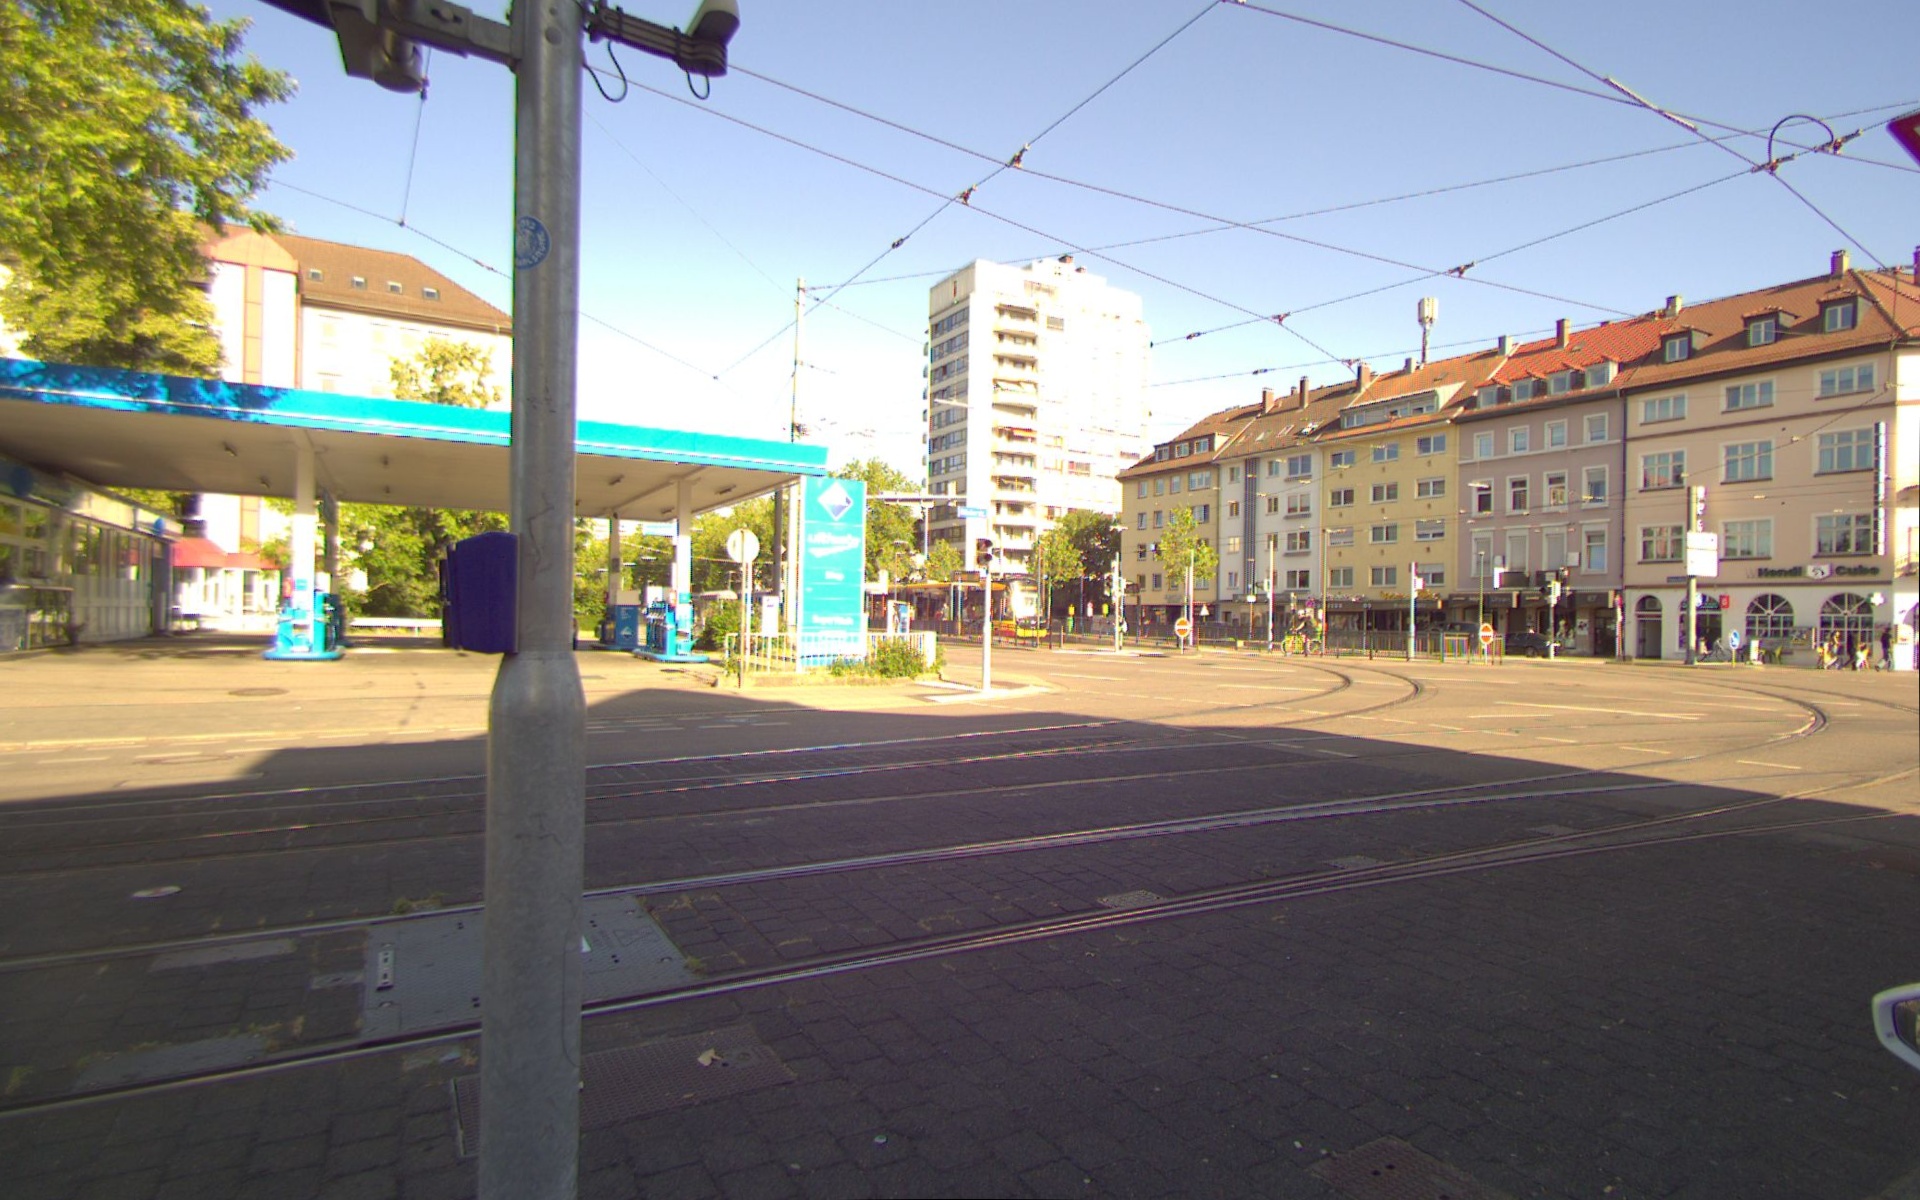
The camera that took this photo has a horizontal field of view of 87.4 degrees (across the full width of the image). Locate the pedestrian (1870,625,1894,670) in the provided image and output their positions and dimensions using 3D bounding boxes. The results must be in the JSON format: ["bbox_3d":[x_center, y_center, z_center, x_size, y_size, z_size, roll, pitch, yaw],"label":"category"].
[{"bbox_3d":[39.402,2.026,42.931,0.460,1.906,0.629,2,0,-33],"label":"pedestrian"}]

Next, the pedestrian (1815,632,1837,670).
[{"bbox_3d":[38.087,2.219,44.173,0.460,1.633,0.629,2,0,-33],"label":"pedestrian"}]

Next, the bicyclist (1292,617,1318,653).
[{"bbox_3d":[13.496,1.364,39.293,0.787,1.384,0.560,2,0,2],"label":"bicyclist"}]

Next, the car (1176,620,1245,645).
[{"bbox_3d":[15.904,2.070,63.914,1.980,1.394,3.961,2,0,-35],"label":"car"}]

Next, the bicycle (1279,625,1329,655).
[{"bbox_3d":[13.440,1.571,39.270,1.759,1.084,0.575,2,0,1],"label":"bicycle"}]

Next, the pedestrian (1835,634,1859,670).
[{"bbox_3d":[38.060,2.212,43.099,0.460,1.496,0.629,2,0,-33],"label":"pedestrian"}]

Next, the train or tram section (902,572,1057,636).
[{"bbox_3d":[0.758,0.178,57.514,2.751,3.273,12.286,2,0,-31],"label":"train or tram section"}]

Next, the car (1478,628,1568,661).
[{"bbox_3d":[30.850,2.420,55.143,1.970,1.692,3.981,1,-1,-21],"label":"car"}]

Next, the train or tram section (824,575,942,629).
[{"bbox_3d":[-5.492,0.063,68.005,2.751,3.273,12.286,2,0,-31],"label":"train or tram section"}]

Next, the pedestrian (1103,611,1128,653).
[{"bbox_3d":[6.282,1.302,40.615,0.675,1.656,0.694,2,0,-35],"label":"pedestrian"}]

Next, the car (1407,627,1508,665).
[{"bbox_3d":[24.734,2.268,50.056,1.930,1.639,4.147,2,0,-29],"label":"car"}]

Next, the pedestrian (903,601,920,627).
[{"bbox_3d":[-2.918,0.808,59.882,0.811,1.532,0.701,1,-1,-24],"label":"pedestrian"}]

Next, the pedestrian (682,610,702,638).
[{"bbox_3d":[-14.717,1.303,55.133,0.817,1.532,0.696,1,-1,-44],"label":"pedestrian"}]

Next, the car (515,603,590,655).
[{"bbox_3d":[-12.286,0.849,30.179,1.764,1.411,3.455,2,0,-28],"label":"car"}]

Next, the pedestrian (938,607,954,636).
[{"bbox_3d":[-0.809,1.217,57.026,0.807,1.608,0.704,1,-1,-6],"label":"pedestrian"}]

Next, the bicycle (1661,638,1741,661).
[{"bbox_3d":[37.494,2.495,50.898,0.989,0.993,3.115,2,0,-29],"label":"bicycle"}]

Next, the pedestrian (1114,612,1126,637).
[{"bbox_3d":[10.654,1.651,66.822,0.570,1.649,0.522,2,0,-31],"label":"pedestrian"}]
